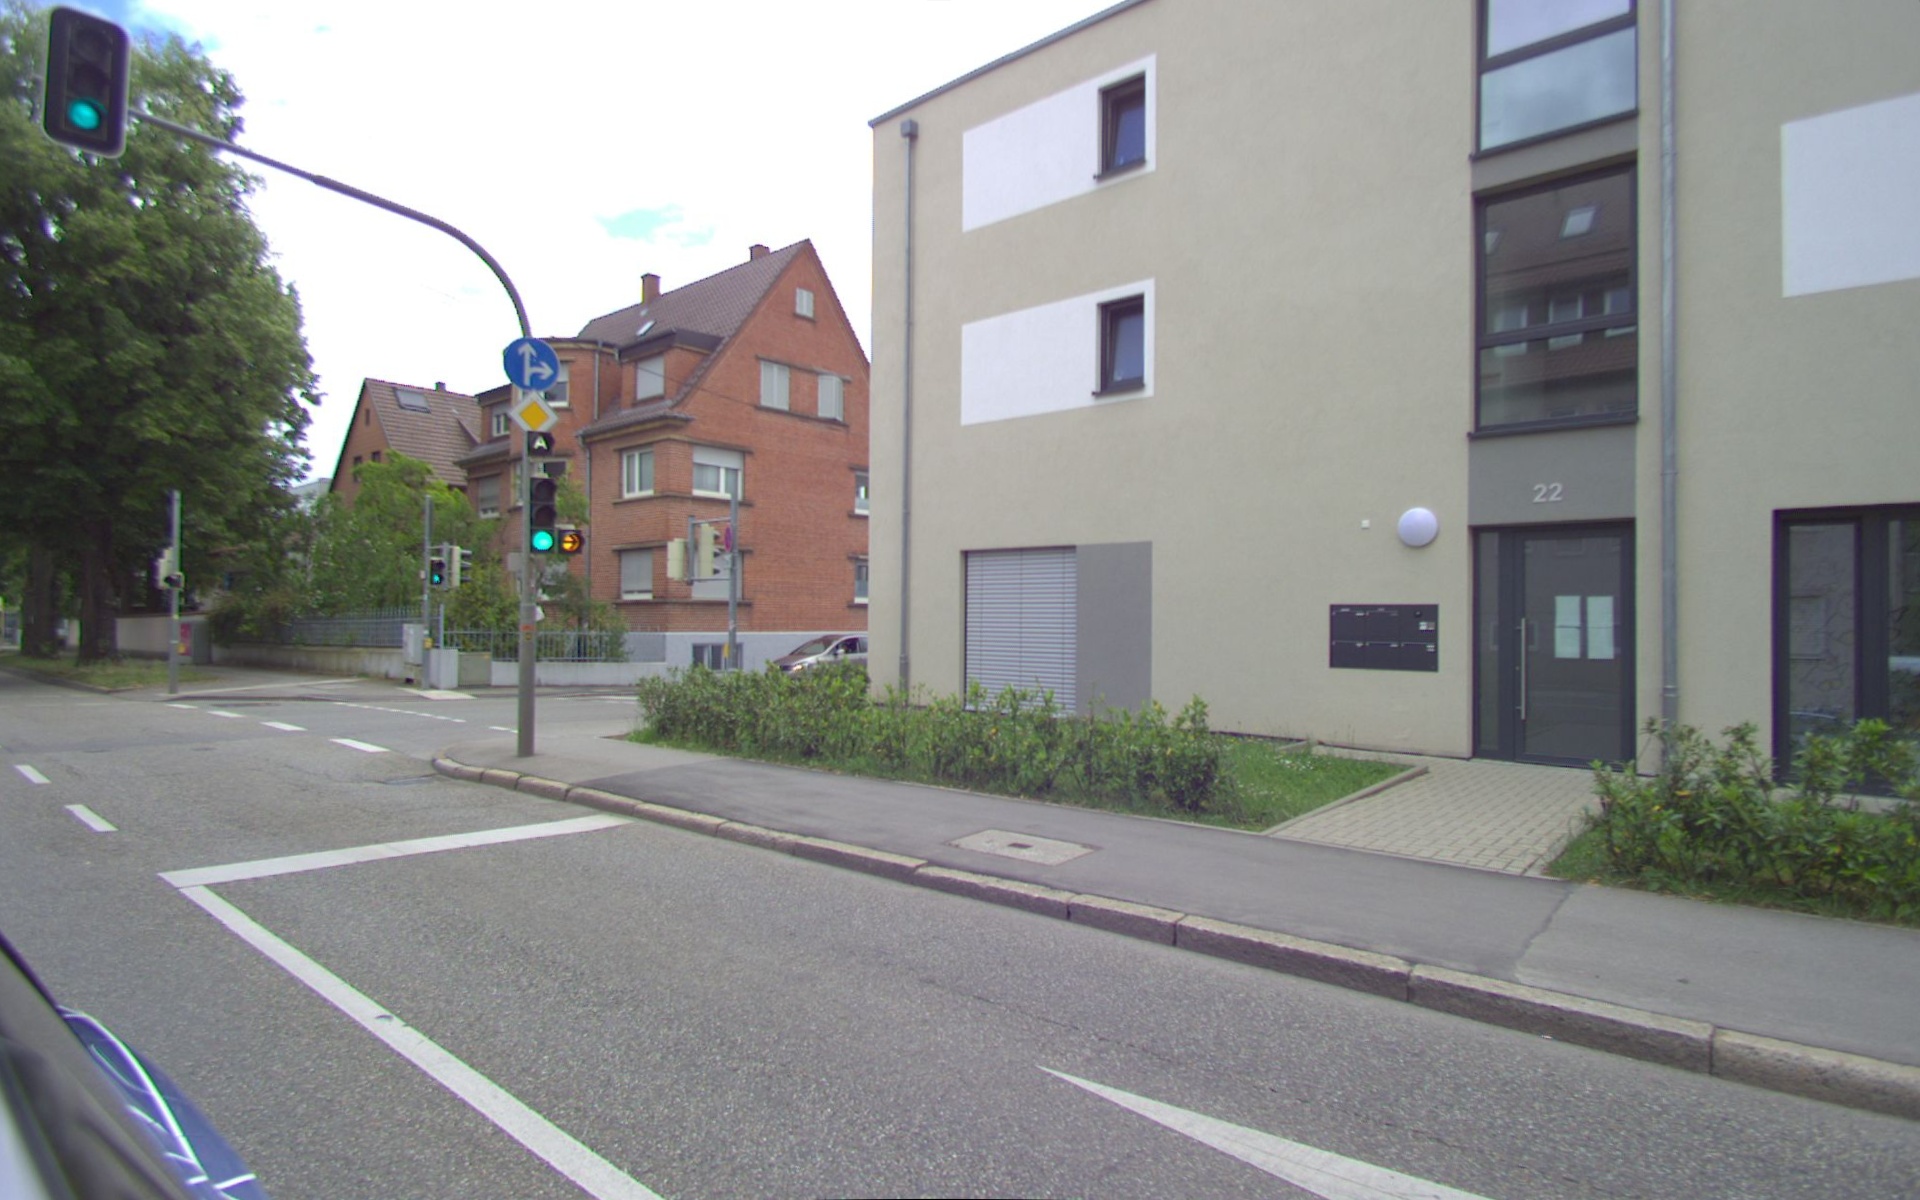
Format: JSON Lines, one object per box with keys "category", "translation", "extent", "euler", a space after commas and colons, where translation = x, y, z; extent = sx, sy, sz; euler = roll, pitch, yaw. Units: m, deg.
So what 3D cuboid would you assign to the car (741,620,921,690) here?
{"category": "car", "translation": [-3.349, 1.397, 27.253], "extent": [2.171, 1.698, 4.756], "euler": [-1, -2, 36]}
